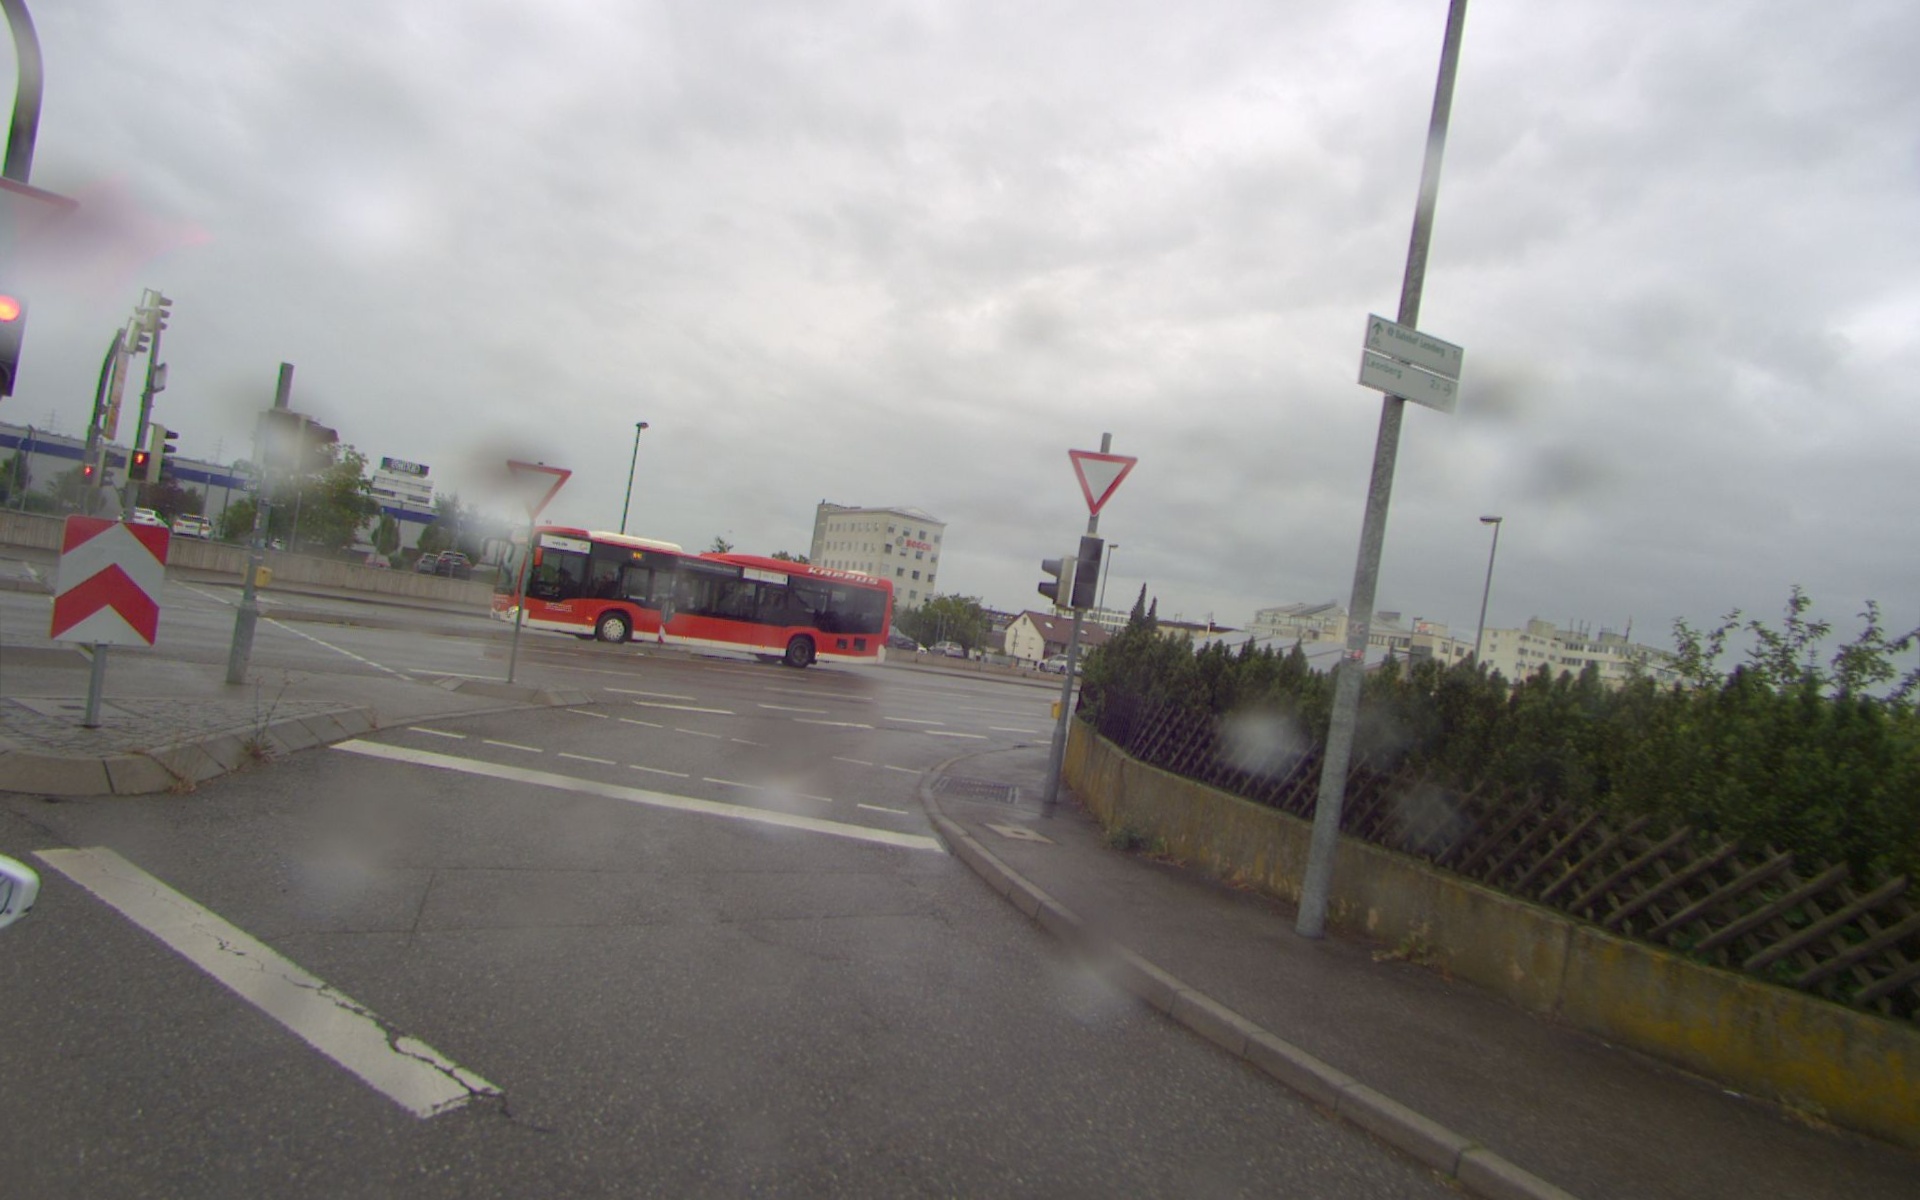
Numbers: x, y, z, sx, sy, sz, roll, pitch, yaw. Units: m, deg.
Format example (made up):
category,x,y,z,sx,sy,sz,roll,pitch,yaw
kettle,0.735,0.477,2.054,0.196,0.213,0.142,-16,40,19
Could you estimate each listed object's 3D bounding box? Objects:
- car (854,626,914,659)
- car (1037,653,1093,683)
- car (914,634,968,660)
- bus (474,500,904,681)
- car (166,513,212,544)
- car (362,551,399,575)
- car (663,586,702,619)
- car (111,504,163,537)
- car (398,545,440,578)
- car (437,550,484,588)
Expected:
category,x,y,z,sx,sy,sz,roll,pitch,yaw
car,-4.835,2.669,63.882,1.982,1.495,3.965,10,-2,-33
car,7.456,4.849,71.845,1.979,1.495,3.972,9,-2,-28
car,-1.603,3.943,84.118,3.951,1.495,1.989,9,-2,-24
bus,-7.736,-0.035,30.793,12.235,3.357,3.042,11,-3,-39
car,-46.283,-4.304,60.411,1.985,1.495,3.959,10,-2,-38
car,-43.243,-2.751,75.117,1.749,1.495,3.630,9,-2,-22
car,-17.116,0.142,61.937,1.749,1.734,3.630,9,-2,-22
car,-48.019,-4.632,58.762,1.985,1.495,3.959,10,-2,-37
car,-33.893,-2.371,63.102,1.699,1.734,3.630,9,-2,-22
car,-27.068,-1.659,54.564,1.749,1.734,3.631,9,-2,-21
